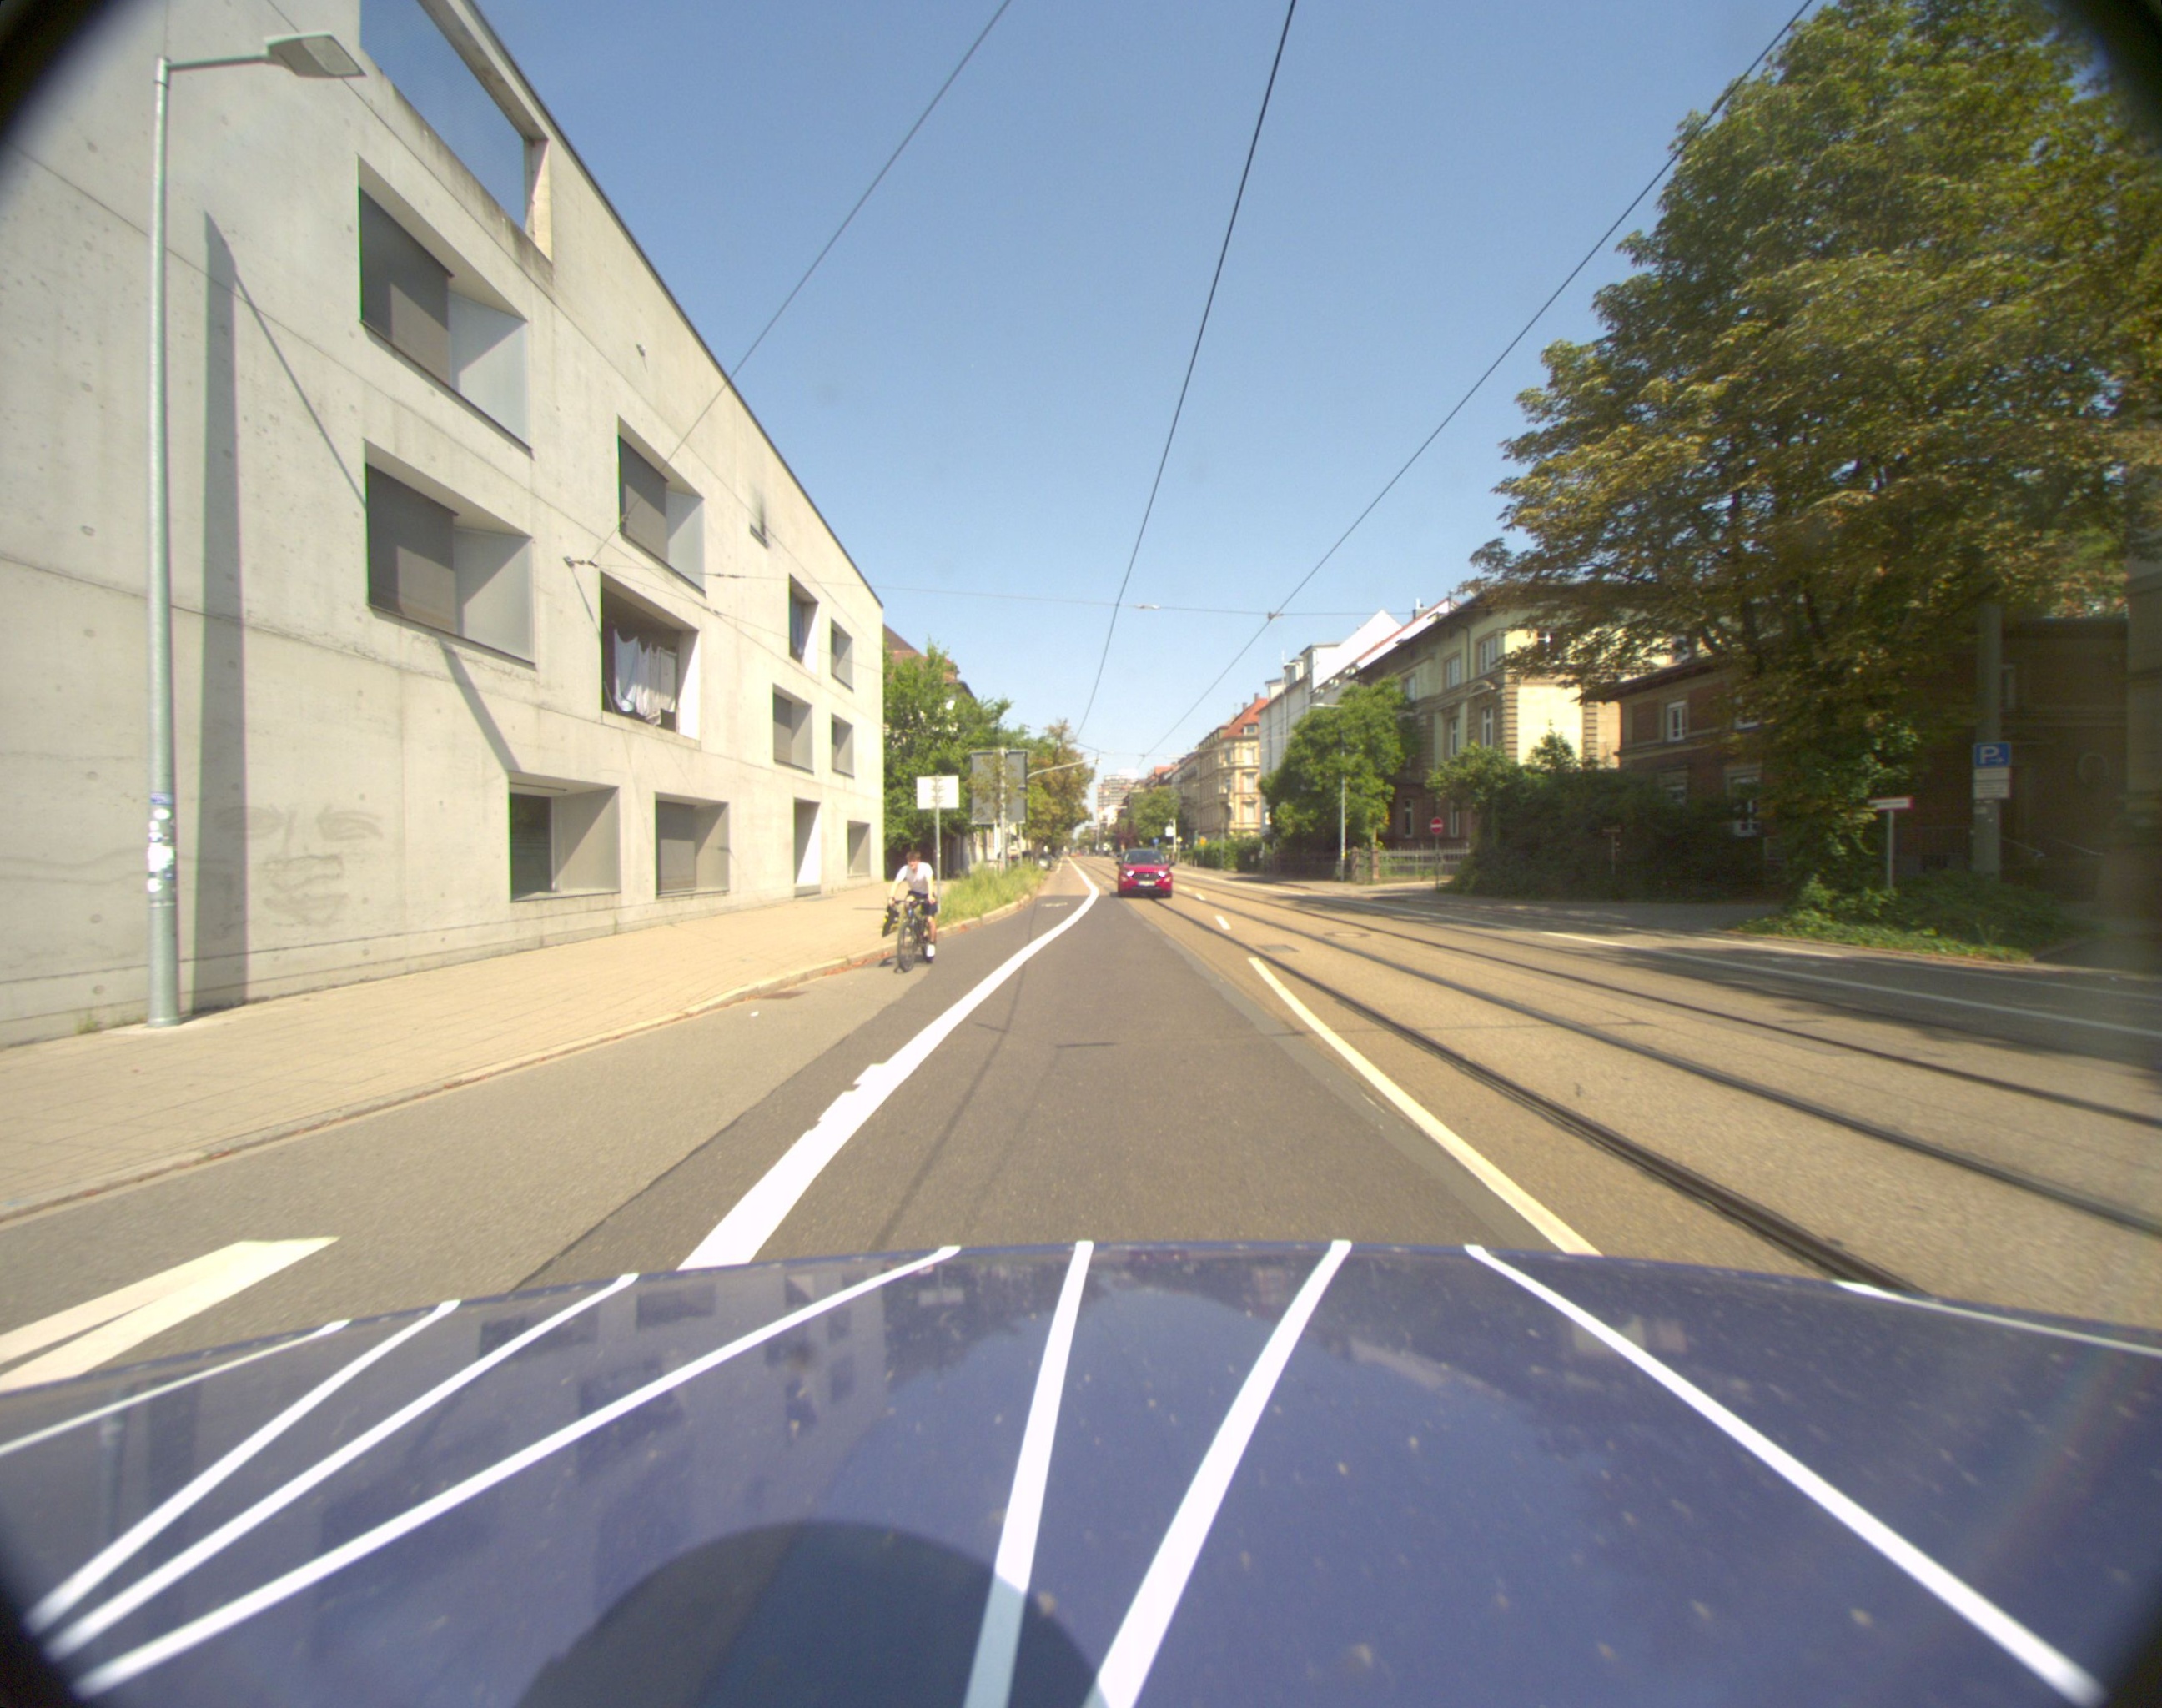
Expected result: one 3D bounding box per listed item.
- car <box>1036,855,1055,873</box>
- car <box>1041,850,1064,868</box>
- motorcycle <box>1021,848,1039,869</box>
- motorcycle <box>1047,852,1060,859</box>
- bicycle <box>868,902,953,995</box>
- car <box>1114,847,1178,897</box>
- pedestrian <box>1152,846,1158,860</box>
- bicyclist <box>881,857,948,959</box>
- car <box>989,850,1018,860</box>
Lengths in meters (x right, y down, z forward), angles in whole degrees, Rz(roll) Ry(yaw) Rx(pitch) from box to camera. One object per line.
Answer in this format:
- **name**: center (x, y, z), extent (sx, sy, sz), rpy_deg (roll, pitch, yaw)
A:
- **car**: center (-3.330, 0.909, 70.720), extent (1.668, 1.498, 4.432), rpy_deg (1, 0, -5)
- **car**: center (-2.401, 0.359, 63.236), extent (1.787, 1.442, 4.749), rpy_deg (1, 0, -3)
- **motorcycle**: center (-3.729, 0.317, 55.959), extent (0.887, 1.544, 2.413), rpy_deg (1, 1, 7)
- **motorcycle**: center (-4.438, 0.281, 120.698), extent (2.000, 1.009, 0.796), rpy_deg (3, 1, -2)
- **bicycle**: center (-2.387, 1.291, 10.900), extent (0.741, 1.043, 2.232), rpy_deg (-1, 0, -1)
- **car**: center (2.127, 0.559, 25.782), extent (1.816, 1.542, 4.021), rpy_deg (-1, 0, 0)
- **pedestrian**: center (10.314, -0.118, 106.005), extent (0.657, 2.002, 0.974), rpy_deg (0, 1, -3)
- **bicyclist**: center (-2.380, 0.745, 10.948), extent (0.747, 1.403, 0.961), rpy_deg (-1, 1, -1)
- **car**: center (-11.977, 0.171, 117.740), extent (3.990, 1.435, 1.978), rpy_deg (0, 0, 22)
